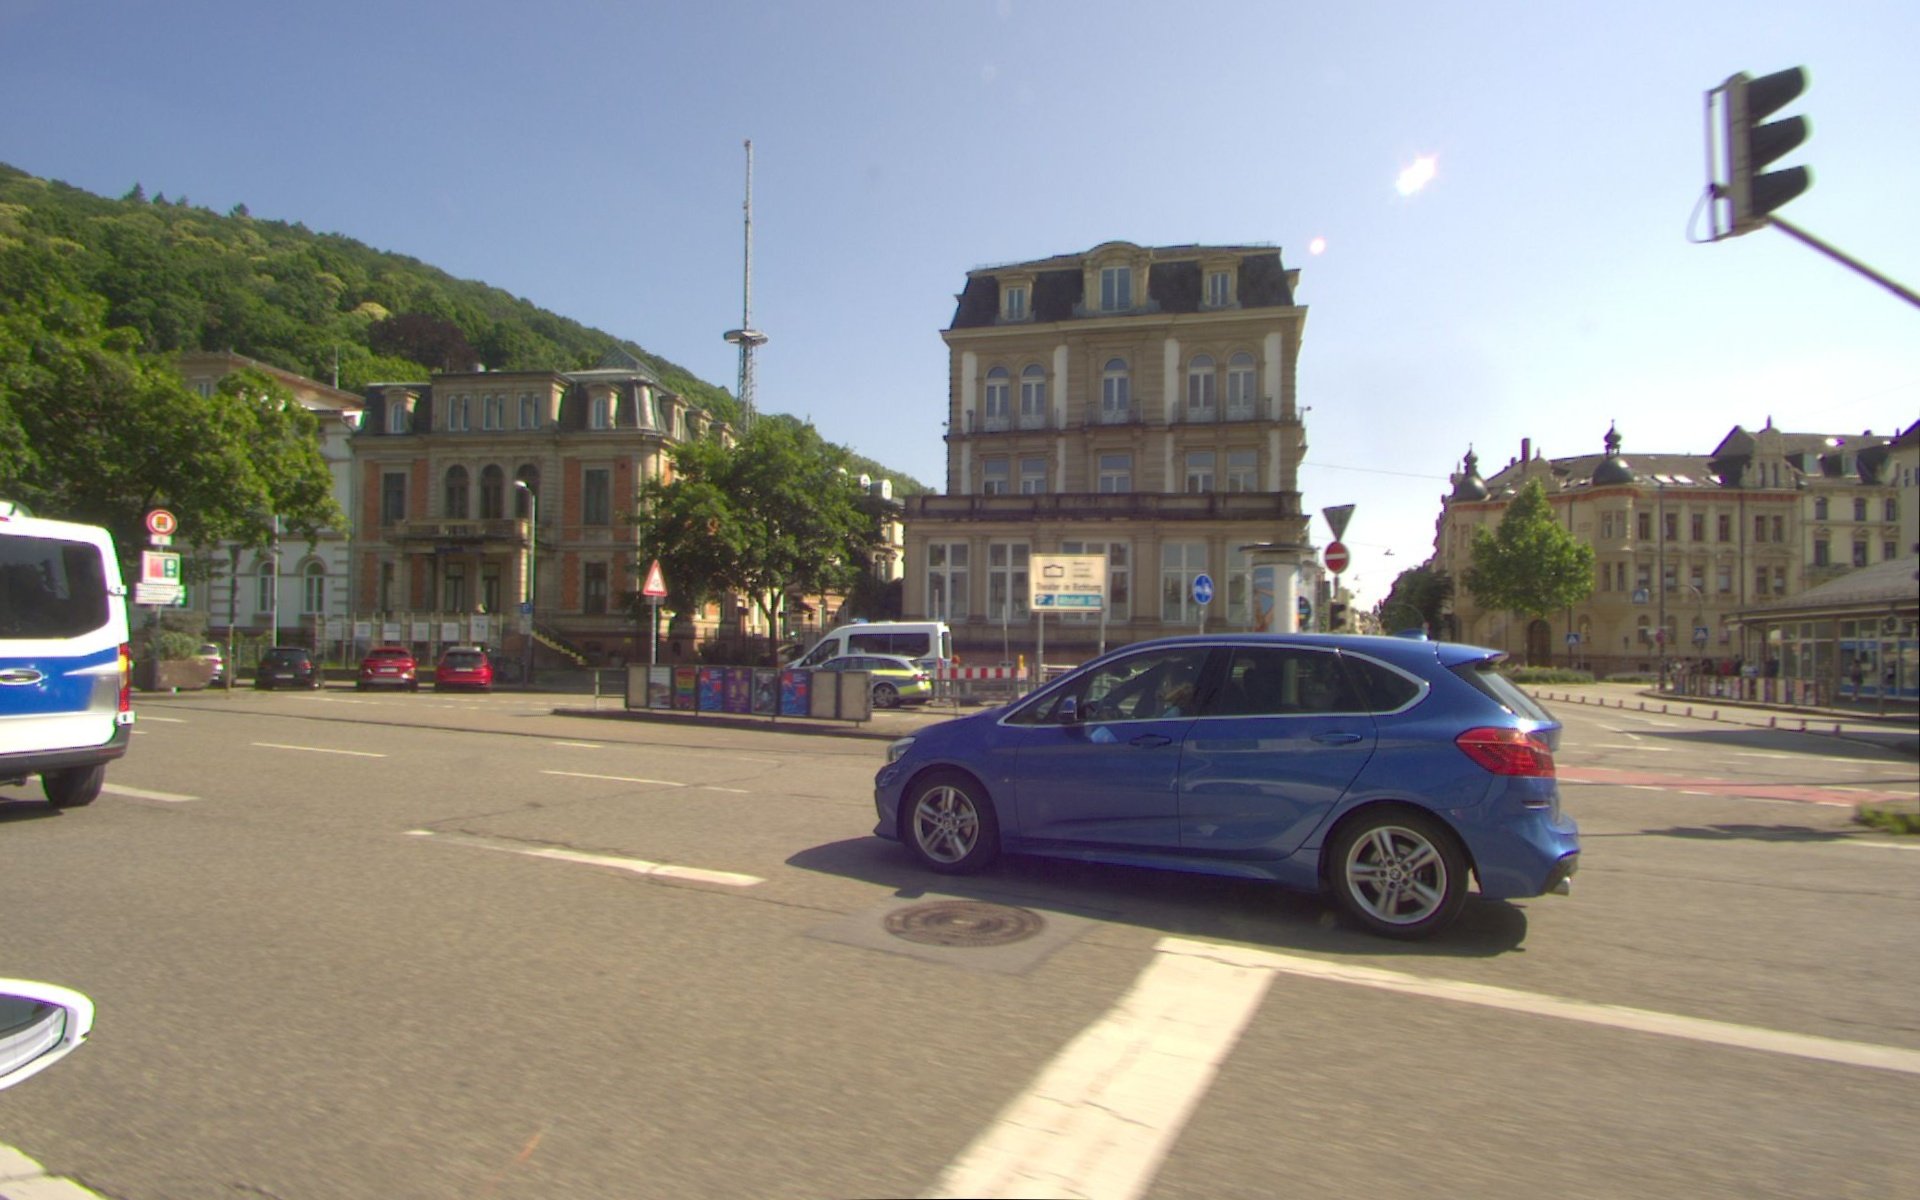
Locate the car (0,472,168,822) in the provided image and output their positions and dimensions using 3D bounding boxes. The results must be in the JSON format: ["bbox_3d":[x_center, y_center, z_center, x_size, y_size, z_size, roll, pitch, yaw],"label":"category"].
[{"bbox_3d":[-9.116,0.385,8.429,4.854,2.539,2.073,-1,-3,29],"label":"car"}]

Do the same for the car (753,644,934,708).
[{"bbox_3d":[-3.241,2.122,28.338,4.785,1.646,1.823,1,-3,7],"label":"car"}]

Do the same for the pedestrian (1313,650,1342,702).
[{"bbox_3d":[12.893,2.660,35.153,0.809,1.762,0.747,0,-2,33],"label":"pedestrian"}]

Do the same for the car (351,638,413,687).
[{"bbox_3d":[-20.205,2.163,35.118,1.725,1.594,3.860,2,-3,-29],"label":"car"}]

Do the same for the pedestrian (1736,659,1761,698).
[{"bbox_3d":[33.230,3.303,42.195,0.708,1.624,0.722,0,-2,29],"label":"pedestrian"}]

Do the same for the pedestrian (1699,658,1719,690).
[{"bbox_3d":[38.433,3.773,51.371,0.708,1.624,0.722,0,-2,29],"label":"pedestrian"}]

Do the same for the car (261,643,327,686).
[{"bbox_3d":[-23.351,2.234,35.206,1.583,1.434,3.804,2,-3,-29],"label":"car"}]

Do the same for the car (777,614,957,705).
[{"bbox_3d":[-2.833,1.827,31.097,5.215,2.636,2.001,1,-2,8],"label":"car"}]

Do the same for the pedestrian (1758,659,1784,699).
[{"bbox_3d":[33.880,3.305,41.836,0.708,1.624,0.722,0,-2,29],"label":"pedestrian"}]

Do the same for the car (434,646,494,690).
[{"bbox_3d":[-16.977,2.308,34.416,1.722,1.436,3.688,2,-3,-25],"label":"car"}]

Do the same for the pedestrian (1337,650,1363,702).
[{"bbox_3d":[13.542,2.624,34.746,0.692,1.774,0.718,0,-2,33],"label":"pedestrian"}]

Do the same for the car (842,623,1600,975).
[{"bbox_3d":[1.480,0.970,6.313,4.208,1.560,1.718,-1,-4,30],"label":"car"}]

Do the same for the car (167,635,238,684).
[{"bbox_3d":[-27.285,2.122,36.163,1.691,1.650,4.291,2,-3,-33],"label":"car"}]

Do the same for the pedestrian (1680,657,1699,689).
[{"bbox_3d":[37.557,3.767,51.565,0.708,1.624,0.721,0,-2,30],"label":"pedestrian"}]

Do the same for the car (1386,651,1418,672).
[{"bbox_3d":[36.012,5.005,81.724,1.847,1.627,3.866,0,-3,16],"label":"car"}]
